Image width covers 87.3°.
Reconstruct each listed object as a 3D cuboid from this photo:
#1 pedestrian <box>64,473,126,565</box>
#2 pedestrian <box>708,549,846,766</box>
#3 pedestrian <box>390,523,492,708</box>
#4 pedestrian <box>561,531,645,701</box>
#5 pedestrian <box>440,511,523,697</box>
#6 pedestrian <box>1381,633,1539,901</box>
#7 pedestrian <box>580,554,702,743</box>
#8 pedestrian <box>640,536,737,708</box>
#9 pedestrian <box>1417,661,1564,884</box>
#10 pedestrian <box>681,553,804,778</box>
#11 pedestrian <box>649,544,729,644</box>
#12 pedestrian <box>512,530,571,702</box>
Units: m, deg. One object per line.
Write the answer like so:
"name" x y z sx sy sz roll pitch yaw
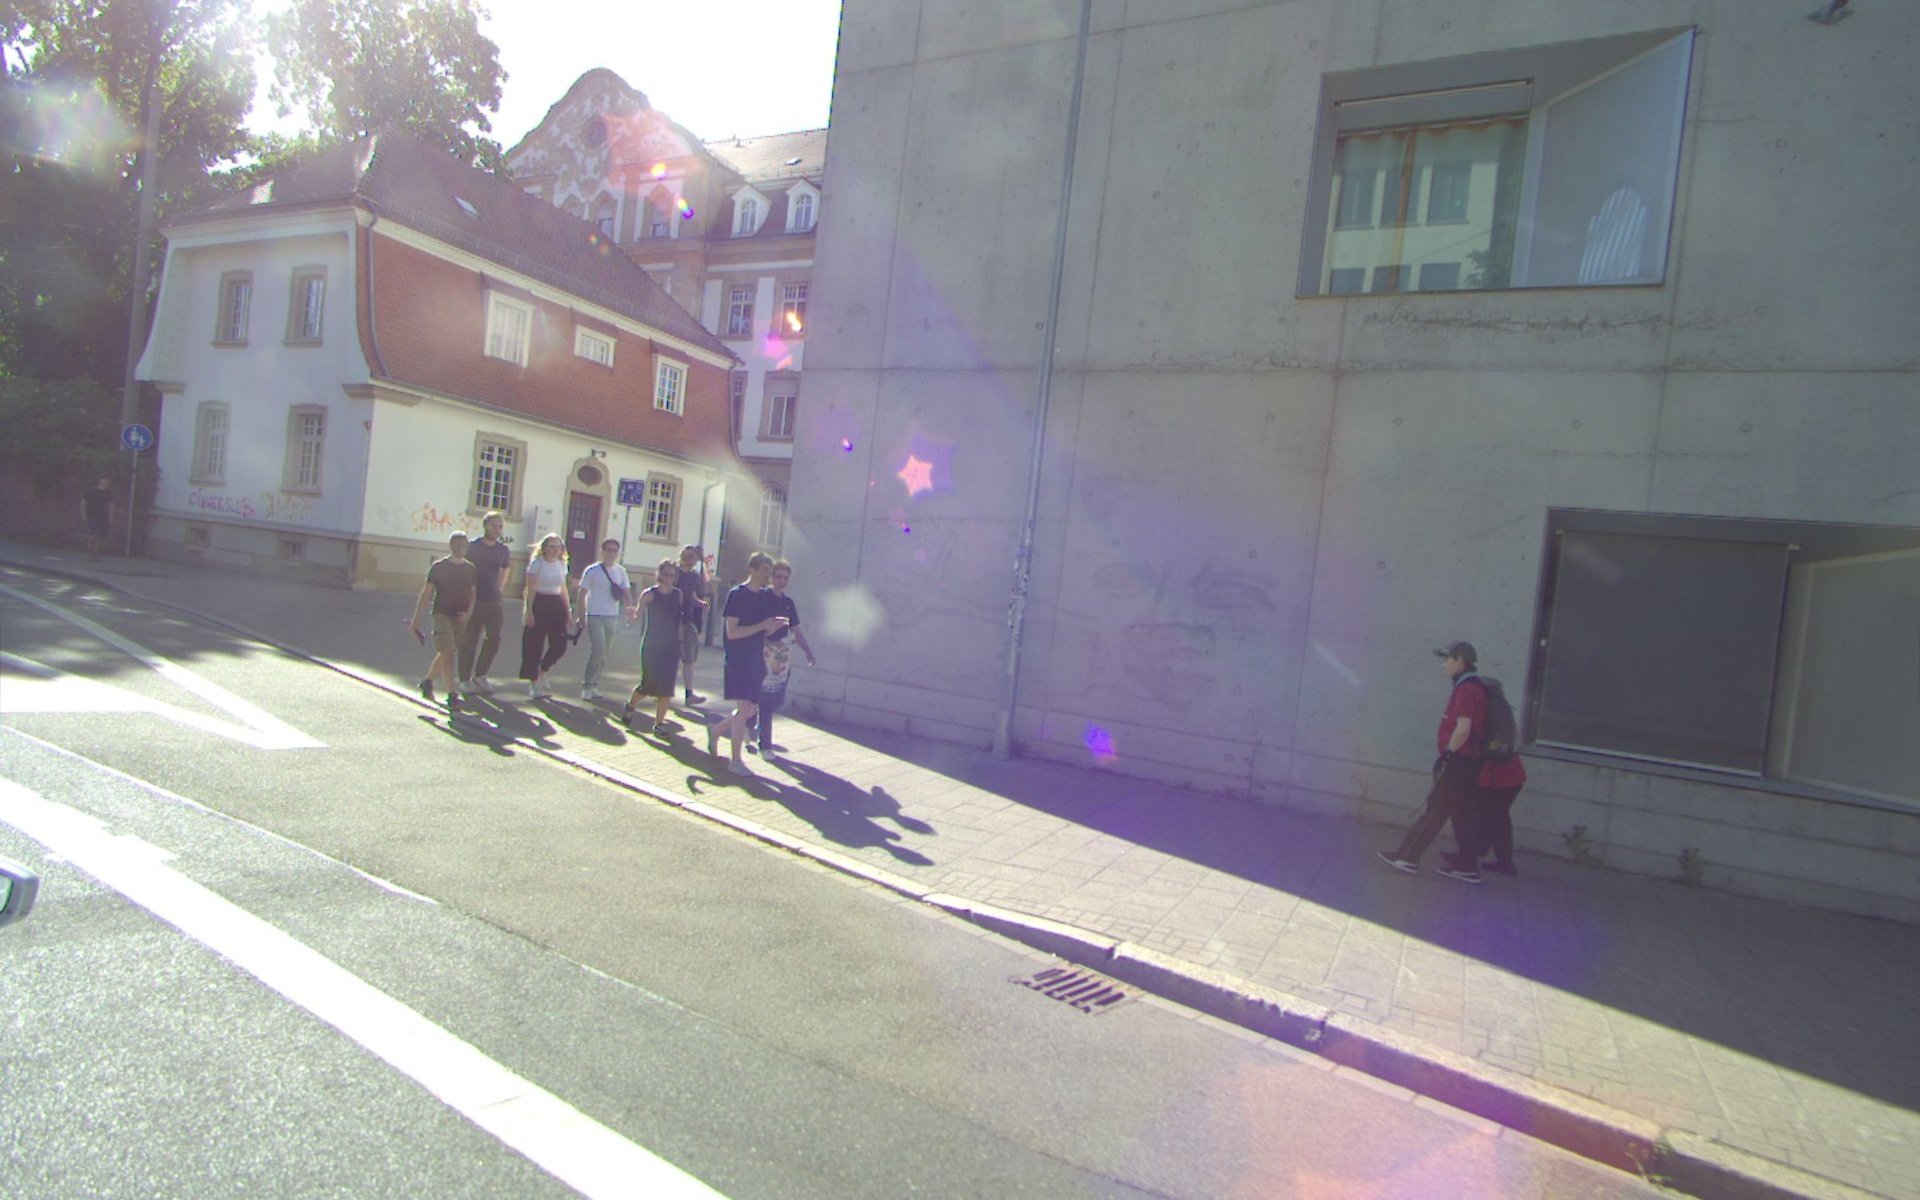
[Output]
"pedestrian" -19.310 -1.807 22.453 1.115 1.930 0.638 7 4 28
"pedestrian" -1.649 0.475 9.044 0.939 1.789 0.647 7 6 30
"pedestrian" -5.269 0.144 10.206 0.706 1.771 0.605 8 5 35
"pedestrian" -4.002 0.165 11.271 0.644 1.800 0.607 9 7 43
"pedestrian" -5.195 0.038 10.910 0.602 1.929 0.518 8 5 35
"pedestrian" 3.357 1.075 6.757 0.751 1.621 0.518 7 2 30
"pedestrian" -3.024 0.428 9.492 0.822 1.628 0.885 1 6 -34
"pedestrian" -3.060 0.233 11.346 0.720 1.828 0.656 8 5 35
"pedestrian" 3.783 1.189 7.187 0.751 1.422 0.518 7 2 30
"pedestrian" -1.822 0.515 8.411 0.802 1.753 0.494 7 6 30
"pedestrian" -4.787 -0.098 17.820 0.844 1.661 0.993 5 1 20
"pedestrian" -4.574 0.158 11.013 0.522 1.800 0.731 2 5 -22
